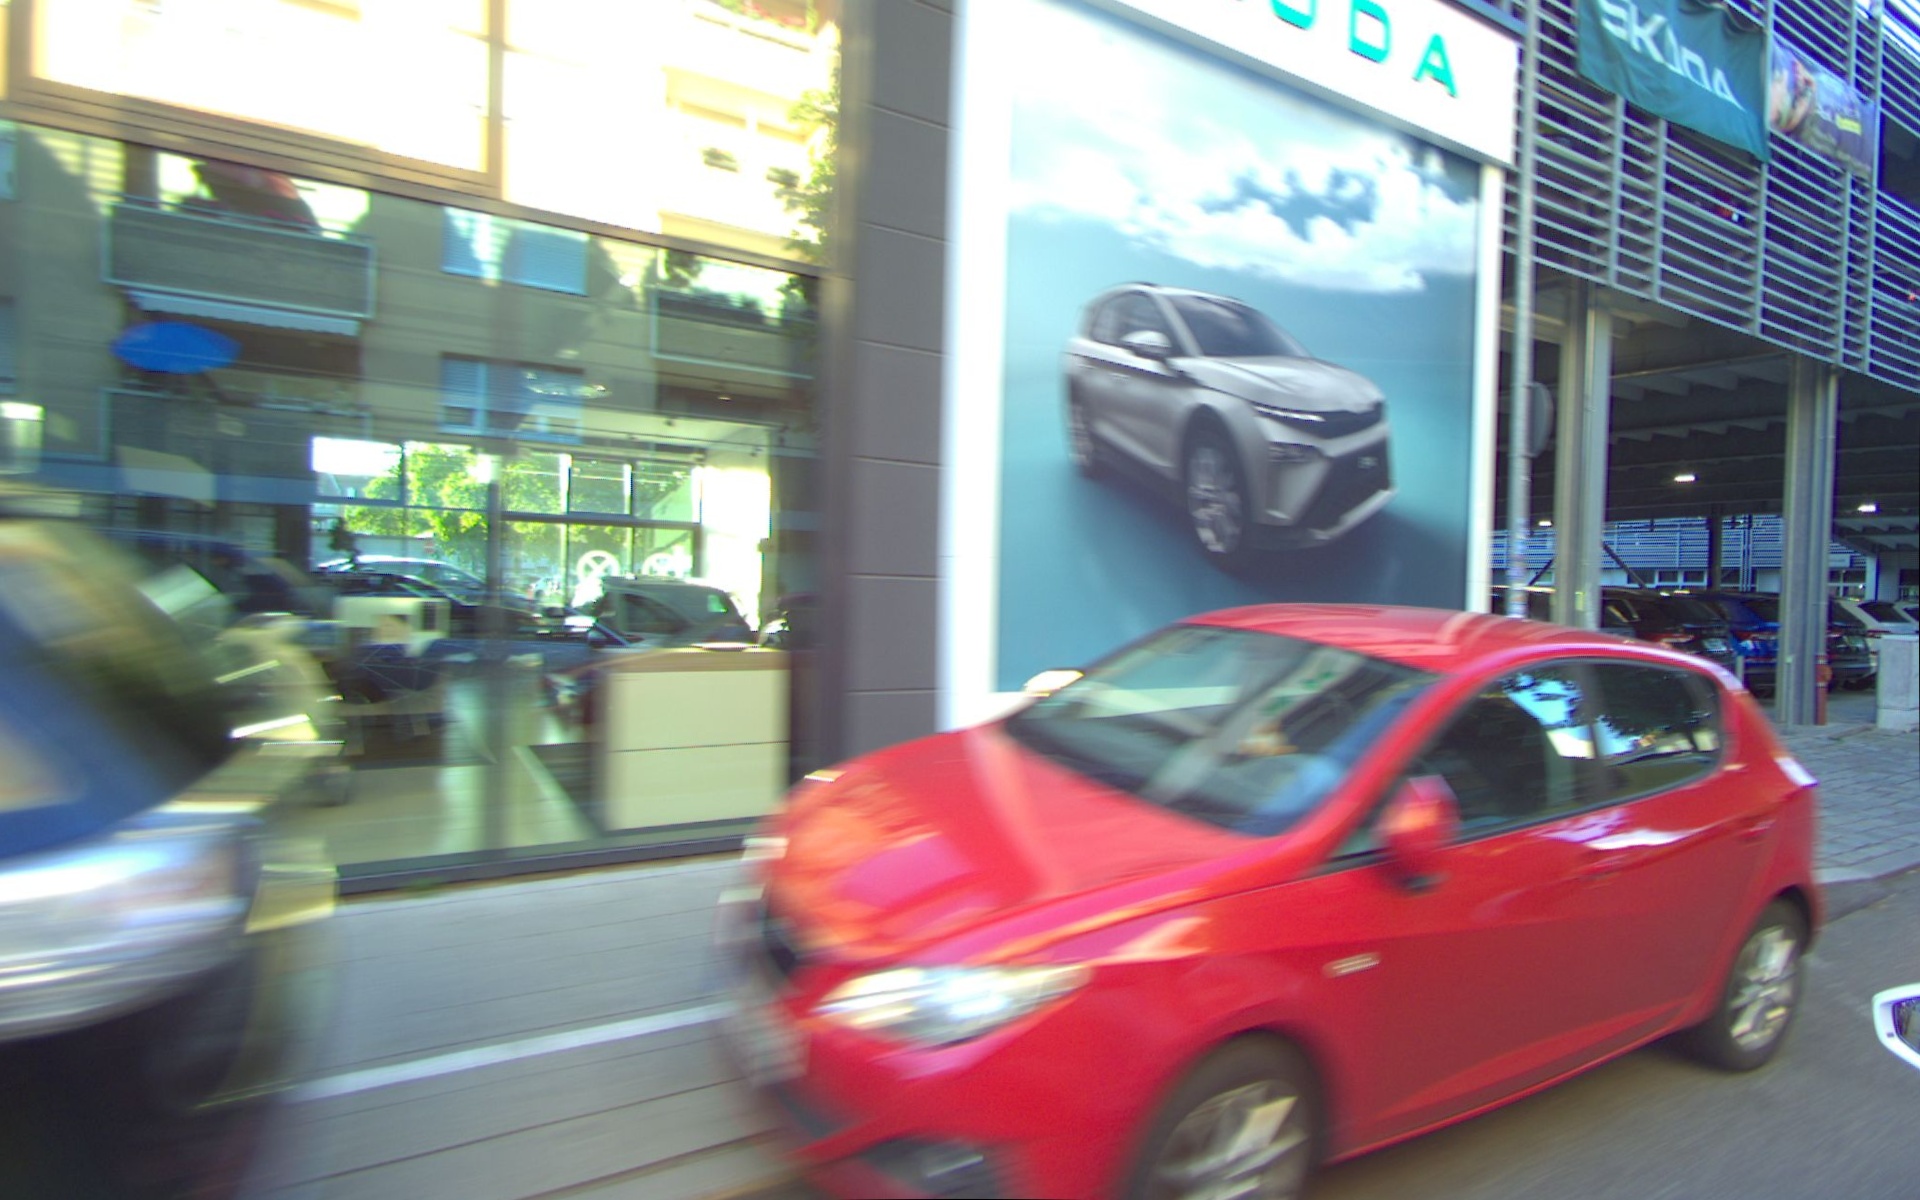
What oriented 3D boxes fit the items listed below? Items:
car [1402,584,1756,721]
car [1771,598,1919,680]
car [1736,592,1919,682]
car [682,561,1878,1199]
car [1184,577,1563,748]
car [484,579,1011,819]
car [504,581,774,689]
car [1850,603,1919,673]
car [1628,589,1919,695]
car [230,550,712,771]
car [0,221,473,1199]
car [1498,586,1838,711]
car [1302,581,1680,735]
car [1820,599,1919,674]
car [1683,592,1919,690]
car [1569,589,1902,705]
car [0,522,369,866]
[{"bbox_3d":[8.807,0.629,14.669,1.837,1.706,4.017,0,1,-29],"label":"car"},{"bbox_3d":[20.843,0.846,22.268,1.837,1.706,4.085,0,1,-29],"label":"car"},{"bbox_3d":[18.941,0.720,20.855,1.837,1.706,4.085,0,1,-29],"label":"car"},{"bbox_3d":[1.191,0.731,3.307,3.747,1.526,1.689,1,0,-31],"label":"car"},{"bbox_3d":[4.797,0.604,12.269,1.837,1.706,4.025,0,1,-29],"label":"car"},{"bbox_3d":[-1.620,0.629,7.946,3.738,1.493,1.689,1,0,-31],"label":"car"},{"bbox_3d":[-4.199,0.414,13.219,3.176,1.272,1.413,0,1,-30],"label":"car"},{"bbox_3d":[24.775,0.964,24.627,1.837,1.706,4.046,0,1,-29],"label":"car"},{"bbox_3d":[14.975,0.665,18.534,1.837,1.706,4.008,0,1,-29],"label":"car"},{"bbox_3d":[-4.383,0.496,9.336,3.695,1.680,1.689,2,0,-31],"label":"car"},{"bbox_3d":[-2.934,0.452,0.923,4.352,1.779,1.689,1,0,-31],"label":"car"},{"bbox_3d":[11.006,0.643,15.938,1.837,1.706,4.017,0,1,-29],"label":"car"},{"bbox_3d":[6.836,0.618,13.422,1.837,1.706,4.147,0,1,-29],"label":"car"},{"bbox_3d":[23.009,0.855,23.446,1.837,1.706,4.085,0,1,-29],"label":"car"},{"bbox_3d":[17.002,0.721,19.806,1.837,1.706,4.065,0,1,-29],"label":"car"},{"bbox_3d":[13.055,0.686,17.204,1.837,1.706,4.131,0,1,-29],"label":"car"},{"bbox_3d":[-5.661,0.441,5.295,4.359,1.681,1.689,1,0,-31],"label":"car"}]
